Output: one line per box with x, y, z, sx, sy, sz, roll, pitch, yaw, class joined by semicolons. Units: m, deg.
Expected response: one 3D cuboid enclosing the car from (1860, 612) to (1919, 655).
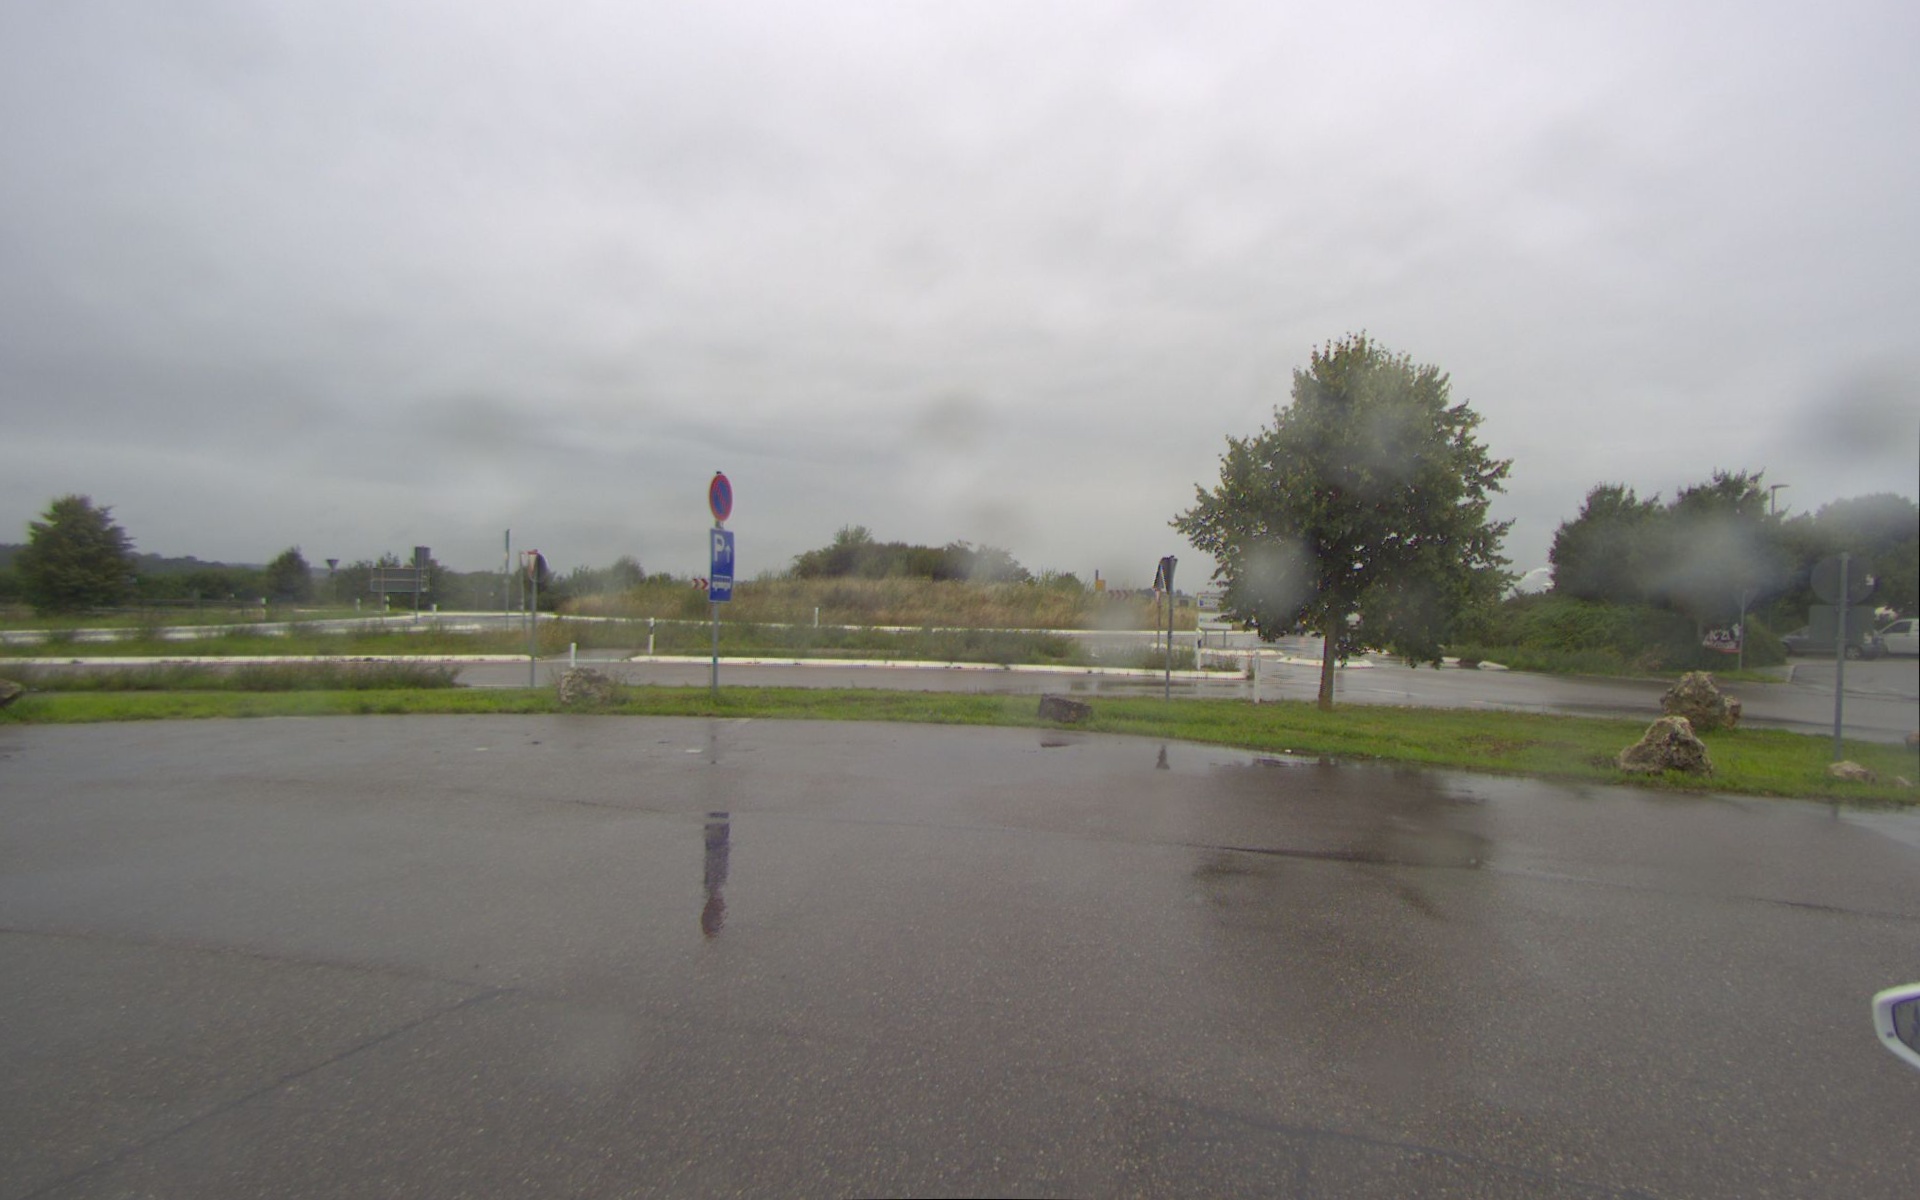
47.444;1.663;49.346;1.624;2.060;4.502;1;0;-28;car

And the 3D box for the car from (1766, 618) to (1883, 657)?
38.603;1.650;44.951;1.433;1.571;3.716;1;0;-28;car

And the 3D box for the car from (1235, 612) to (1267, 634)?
21.802;1.723;75.298;1.382;1.528;3.584;1;0;1;car

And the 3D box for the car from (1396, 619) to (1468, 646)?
33.604;2.329;71.590;4.279;1.782;1.749;1;-1;2;car

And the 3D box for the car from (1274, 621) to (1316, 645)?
21.475;2.094;64.495;1.660;1.343;4.045;1;0;5;car
